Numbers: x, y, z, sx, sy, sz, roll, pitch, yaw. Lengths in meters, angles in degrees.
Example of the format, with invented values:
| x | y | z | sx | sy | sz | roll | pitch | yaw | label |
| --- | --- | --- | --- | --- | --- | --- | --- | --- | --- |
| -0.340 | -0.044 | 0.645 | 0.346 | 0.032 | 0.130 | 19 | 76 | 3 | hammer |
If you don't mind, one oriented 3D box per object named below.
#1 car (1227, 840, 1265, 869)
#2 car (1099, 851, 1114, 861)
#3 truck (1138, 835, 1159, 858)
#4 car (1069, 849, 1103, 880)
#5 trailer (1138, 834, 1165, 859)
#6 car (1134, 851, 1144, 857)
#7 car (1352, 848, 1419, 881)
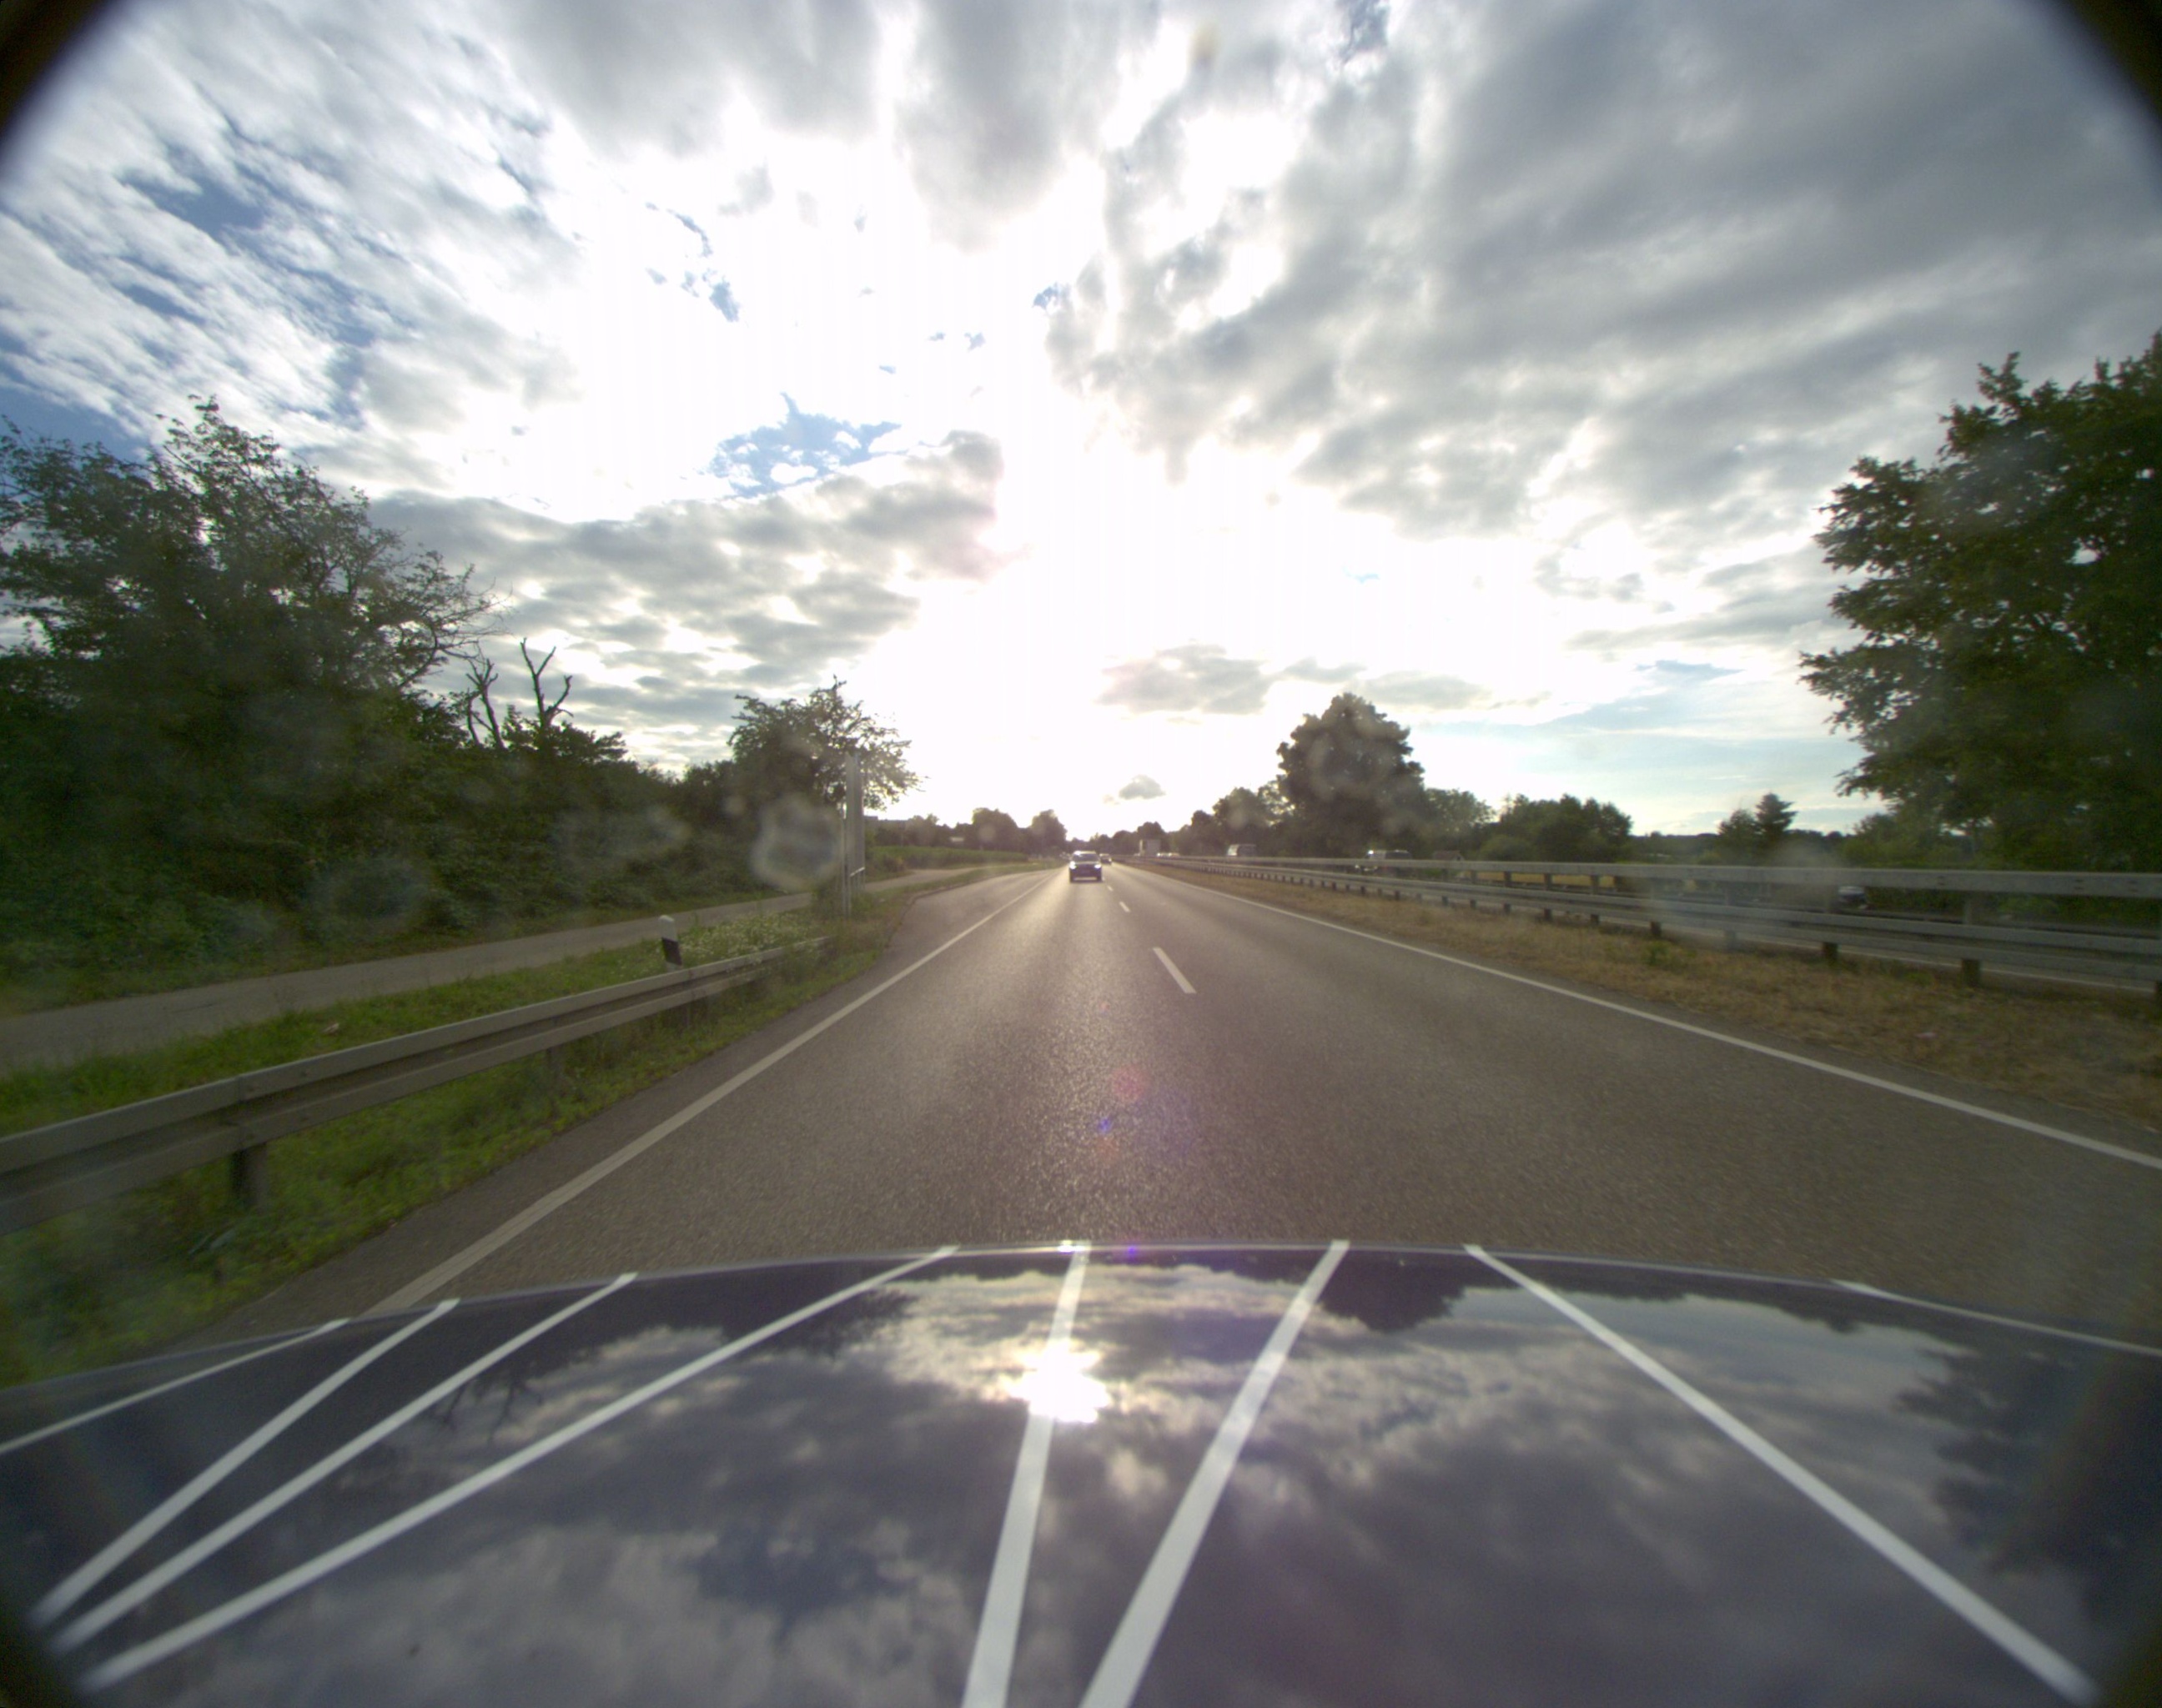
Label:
| x | y | z | sx | sy | sz | roll | pitch | yaw | label |
| --- | --- | --- | --- | --- | --- | --- | --- | --- | --- |
| 12.853 | 0.015 | 59.510 | 1.998 | 2.128 | 5.319 | 1 | 0 | 2 | car |
| 3.492 | 0.280 | 103.191 | 1.998 | 1.320 | 4.000 | 1 | 0 | 2 | car |
| 12.723 | -1.358 | 144.052 | 3.483 | 4.126 | 6.049 | 1 | 1 | 0 | truck |
| 0.259 | 0.576 | 44.229 | 1.849 | 1.640 | 4.480 | -2 | 0 | 0 | car |
| 12.683 | -1.340 | 137.868 | 3.474 | 4.126 | 13.915 | 1 | 0 | 0 | trailer |
| 13.070 | -0.020 | 171.020 | 1.912 | 1.420 | 5.152 | 0 | 0 | 0 | car |
| 15.823 | 0.499 | 39.755 | 1.802 | 1.616 | 4.483 | 1 | 0 | 2 | car |
